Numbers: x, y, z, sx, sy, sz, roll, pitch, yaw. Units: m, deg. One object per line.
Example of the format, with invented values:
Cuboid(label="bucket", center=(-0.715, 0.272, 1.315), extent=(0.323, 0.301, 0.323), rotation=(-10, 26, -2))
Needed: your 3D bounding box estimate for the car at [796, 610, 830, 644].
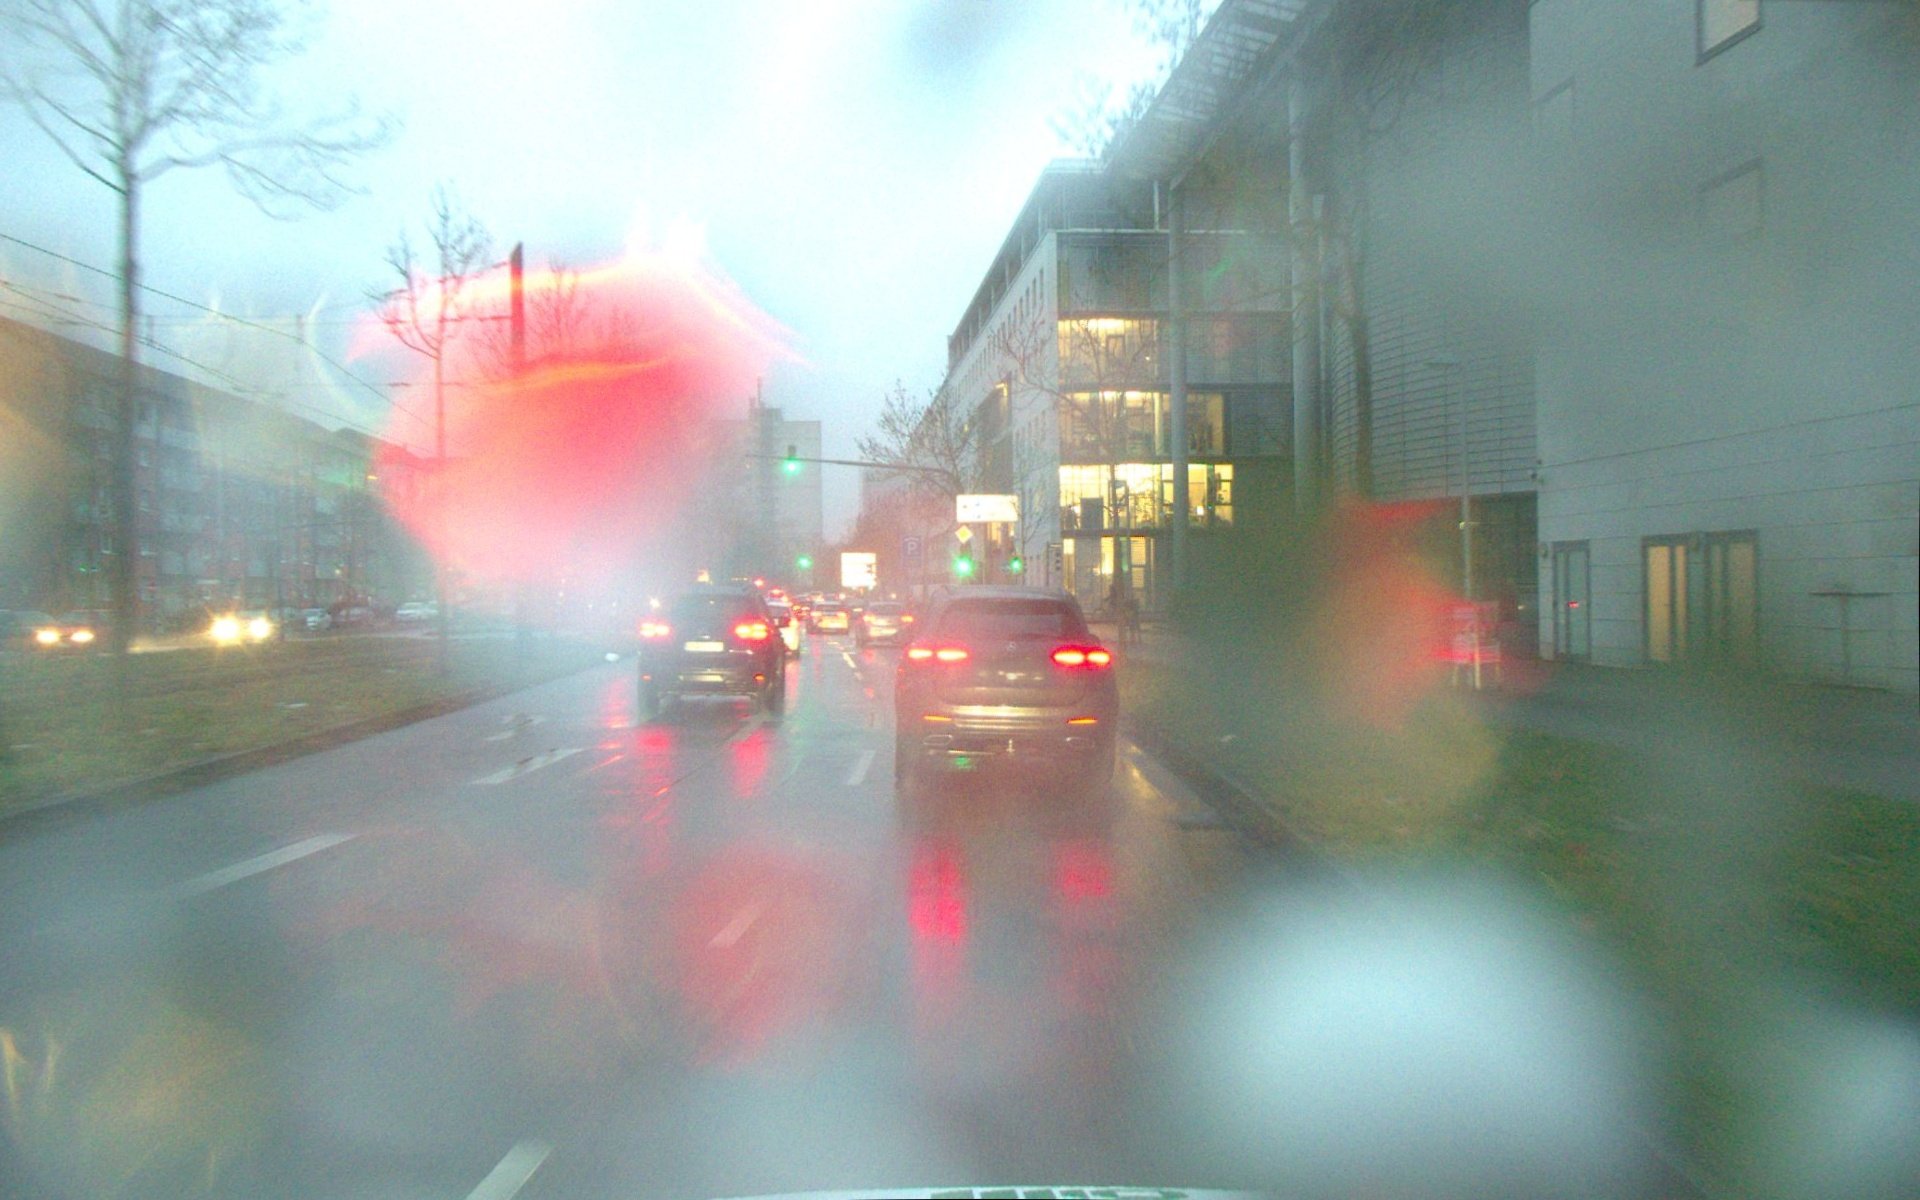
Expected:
Cuboid(label="car", center=(-7.123, 1.306, 80.198), extent=(1.583, 1.548, 3.404), rotation=(1, 0, -5))

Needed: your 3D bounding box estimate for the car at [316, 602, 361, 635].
Cuboid(label="car", center=(-40.661, 1.187, 108.264), extent=(1.957, 2.049, 3.992), rotation=(1, 0, -9))

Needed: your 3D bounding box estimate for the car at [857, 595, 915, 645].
Cuboid(label="car", center=(-2.448, 0.634, 55.059), extent=(1.830, 1.570, 3.608), rotation=(1, 0, -3))

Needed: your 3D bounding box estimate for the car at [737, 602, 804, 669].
Cuboid(label="car", center=(-4.970, 0.902, 43.694), extent=(1.657, 1.664, 3.469), rotation=(1, 0, -6))

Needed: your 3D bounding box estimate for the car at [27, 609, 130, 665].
Cuboid(label="car", center=(-27.525, 1.122, 51.736), extent=(1.582, 1.651, 3.505), rotation=(1, 0, -5))

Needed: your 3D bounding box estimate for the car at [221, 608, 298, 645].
Cuboid(label="car", center=(-31.448, 1.162, 74.375), extent=(1.844, 1.529, 4.783), rotation=(1, 0, -6))

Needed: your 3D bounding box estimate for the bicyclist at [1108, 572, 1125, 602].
Cuboid(label="bicyclist", center=(7.099, -0.591, 74.981), extent=(0.609, 1.353, 0.565), rotation=(1, 0, 27))

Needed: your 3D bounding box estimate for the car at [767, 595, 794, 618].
Cuboid(label="car", center=(-13.978, 0.530, 128.823), extent=(1.954, 1.745, 3.420), rotation=(1, 0, -4))

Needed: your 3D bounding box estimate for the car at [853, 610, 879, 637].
Cuboid(label="car", center=(-5.912, 1.480, 104.212), extent=(1.583, 1.599, 3.350), rotation=(1, 0, -2))

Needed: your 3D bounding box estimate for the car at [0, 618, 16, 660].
Cuboid(label="car", center=(-33.055, 1.275, 54.798), extent=(3.686, 1.360, 1.450), rotation=(0, 0, 31))

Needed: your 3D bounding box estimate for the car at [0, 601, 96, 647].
Cuboid(label="car", center=(-33.848, 0.863, 60.908), extent=(3.713, 1.583, 1.740), rotation=(1, 0, 27))

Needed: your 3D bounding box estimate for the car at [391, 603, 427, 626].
Cuboid(label="car", center=(-41.325, 1.061, 124.094), extent=(1.896, 1.625, 3.720), rotation=(1, 0, -9))

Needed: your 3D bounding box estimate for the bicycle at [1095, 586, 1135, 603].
Cuboid(label="bicycle", center=(7.044, -0.260, 75.008), extent=(1.695, 0.758, 0.650), rotation=(1, 0, 28))

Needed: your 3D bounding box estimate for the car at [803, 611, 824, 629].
Cuboid(label="car", center=(-10.698, 1.484, 120.938), extent=(1.353, 1.270, 2.755), rotation=(1, 0, -2))

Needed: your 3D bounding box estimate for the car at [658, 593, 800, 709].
Cuboid(label="car", center=(-3.220, 0.662, 23.308), extent=(1.783, 1.476, 3.994), rotation=(1, 0, -7))

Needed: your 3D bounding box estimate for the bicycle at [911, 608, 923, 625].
Cuboid(label="bicycle", center=(-2.435, 0.926, 93.241), extent=(0.534, 0.982, 1.343), rotation=(1, 0, -8))

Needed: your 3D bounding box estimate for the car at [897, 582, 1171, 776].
Cuboid(label="car", center=(0.523, 0.637, 14.883), extent=(1.955, 1.509, 3.695), rotation=(1, 0, -6))

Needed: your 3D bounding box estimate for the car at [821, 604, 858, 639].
Cuboid(label="car", center=(-5.457, 0.946, 74.478), extent=(1.592, 1.524, 3.522), rotation=(1, 0, -5))

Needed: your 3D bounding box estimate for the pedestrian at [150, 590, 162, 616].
Cuboid(label="pedestrian", center=(-36.780, 0.148, 75.672), extent=(0.427, 1.205, 0.344), rotation=(0, -1, 44))
